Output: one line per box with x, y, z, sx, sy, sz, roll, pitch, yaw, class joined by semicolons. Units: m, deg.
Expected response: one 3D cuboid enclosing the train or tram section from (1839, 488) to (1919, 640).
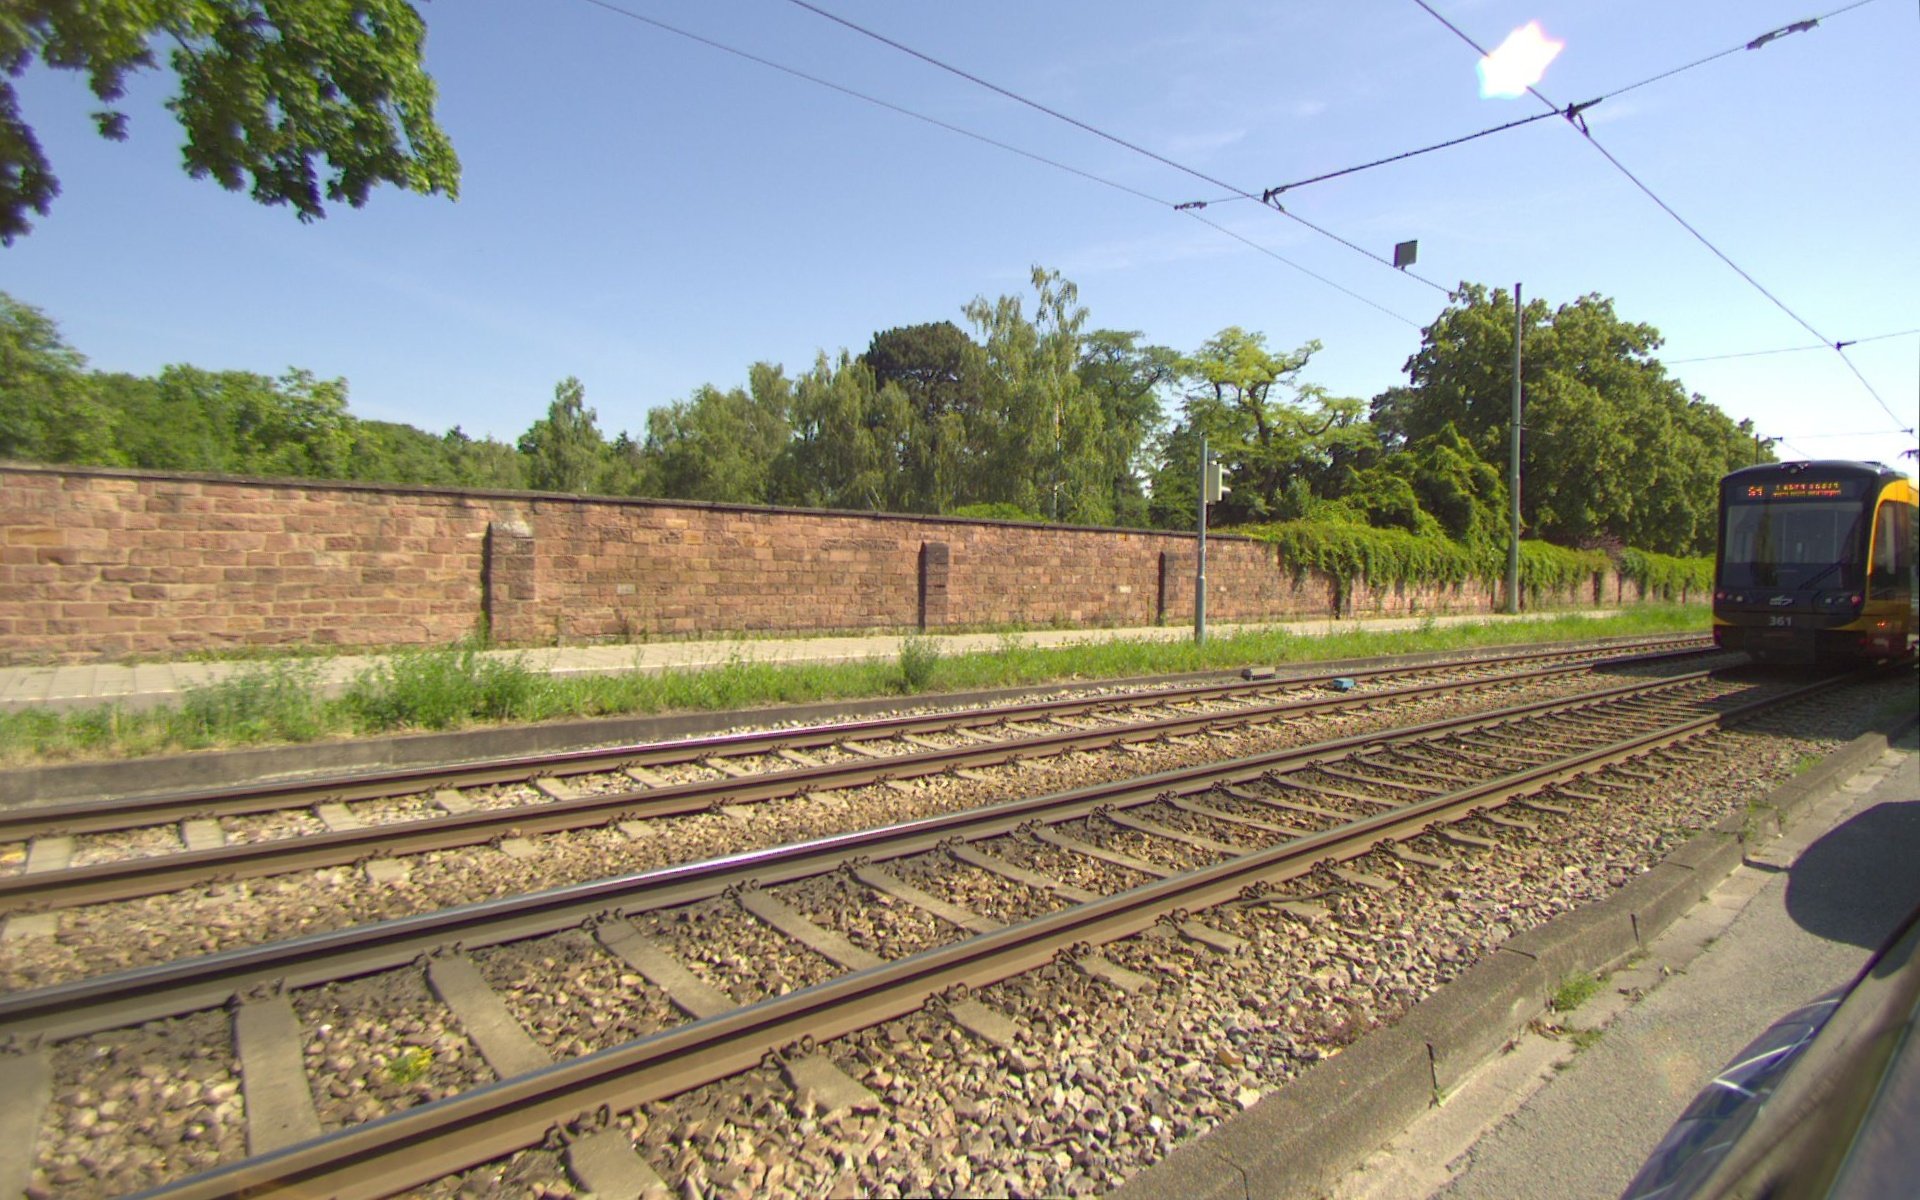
30.230;-1.064;30.878;18.630;3.698;2.677;-2;1;-41;train or tram section

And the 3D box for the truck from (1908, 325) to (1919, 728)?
16.149;-0.821;13.737;14.038;4.120;3.388;-1;1;-41;truck

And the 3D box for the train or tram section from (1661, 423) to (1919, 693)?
17.601;-0.724;19.827;15.039;3.698;2.674;-1;1;-41;train or tram section
